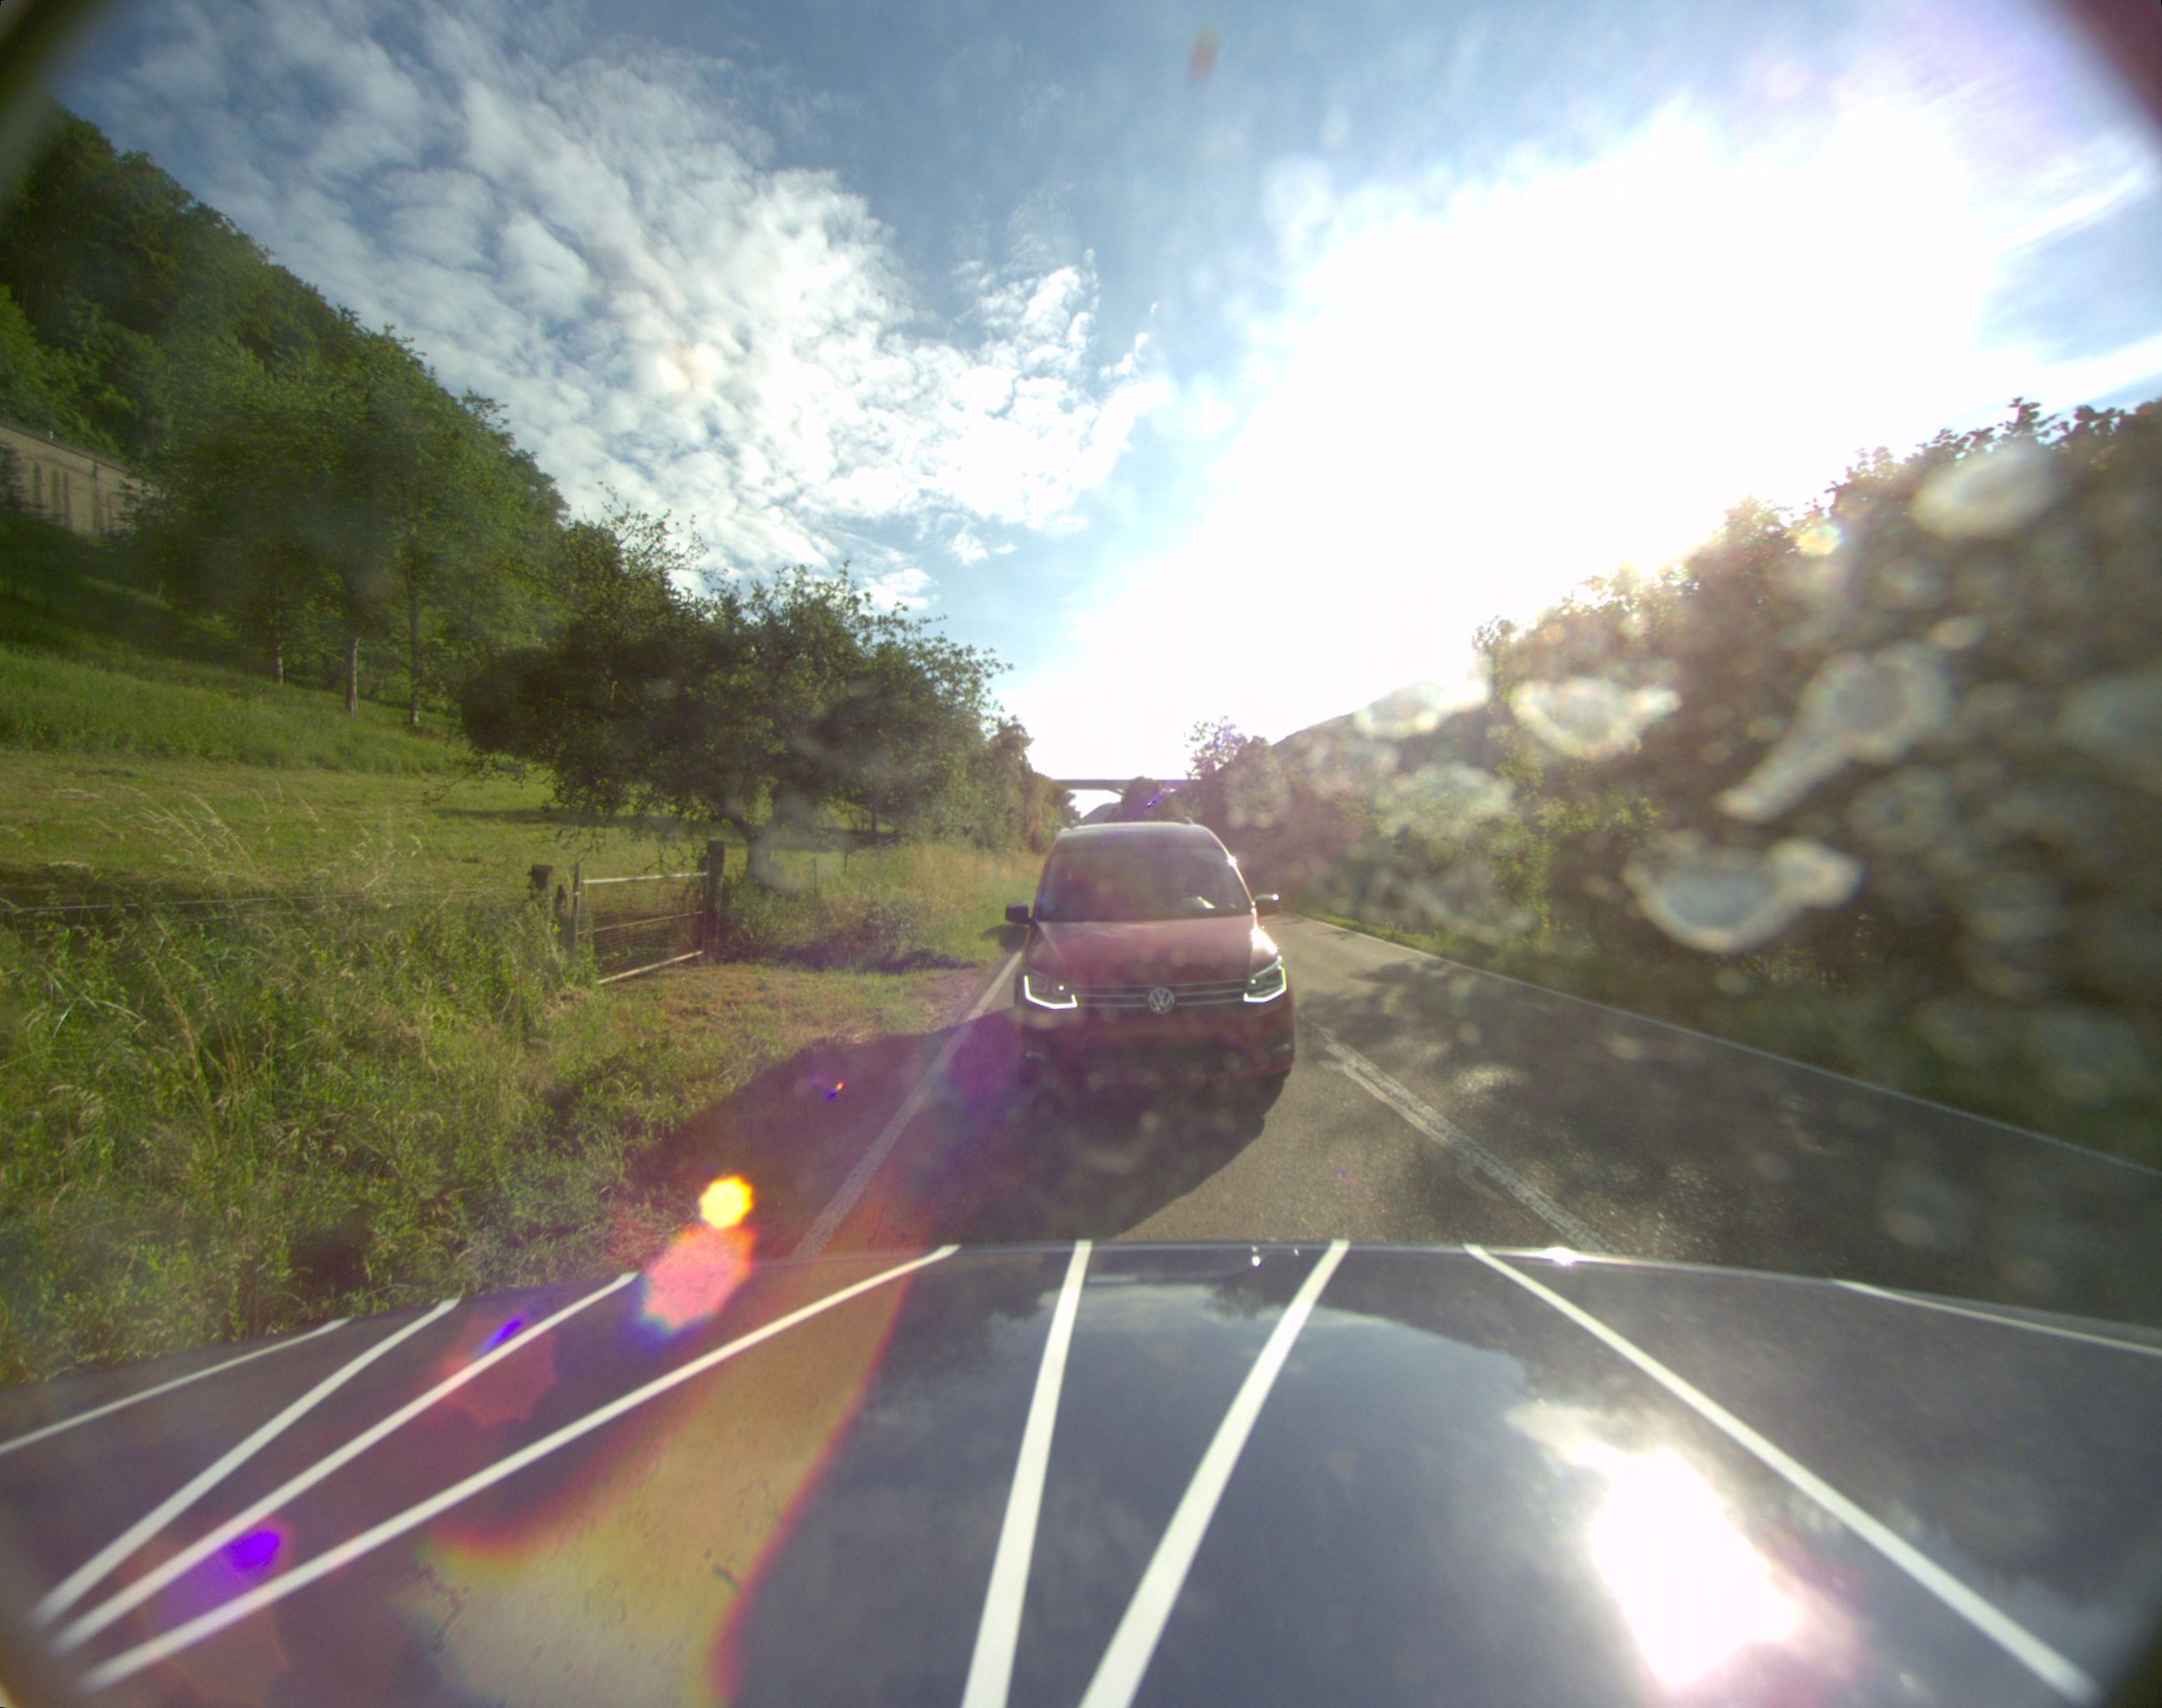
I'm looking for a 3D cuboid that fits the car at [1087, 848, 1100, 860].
[{"bbox_3d":[1.890,0.018,113.761,1.753,1.608,4.288,-3,1,1],"label":"car"}]

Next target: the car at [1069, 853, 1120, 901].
[{"bbox_3d":[0.521,0.813,29.508,1.753,1.608,4.288,-3,1,1],"label":"car"}]

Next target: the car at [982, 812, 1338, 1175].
[{"bbox_3d":[0.454,0.710,6.082,1.753,1.800,4.288,-3,1,1],"label":"car"}]

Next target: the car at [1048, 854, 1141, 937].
[{"bbox_3d":[0.314,0.835,17.256,1.753,1.513,4.288,-3,1,1],"label":"car"}]
